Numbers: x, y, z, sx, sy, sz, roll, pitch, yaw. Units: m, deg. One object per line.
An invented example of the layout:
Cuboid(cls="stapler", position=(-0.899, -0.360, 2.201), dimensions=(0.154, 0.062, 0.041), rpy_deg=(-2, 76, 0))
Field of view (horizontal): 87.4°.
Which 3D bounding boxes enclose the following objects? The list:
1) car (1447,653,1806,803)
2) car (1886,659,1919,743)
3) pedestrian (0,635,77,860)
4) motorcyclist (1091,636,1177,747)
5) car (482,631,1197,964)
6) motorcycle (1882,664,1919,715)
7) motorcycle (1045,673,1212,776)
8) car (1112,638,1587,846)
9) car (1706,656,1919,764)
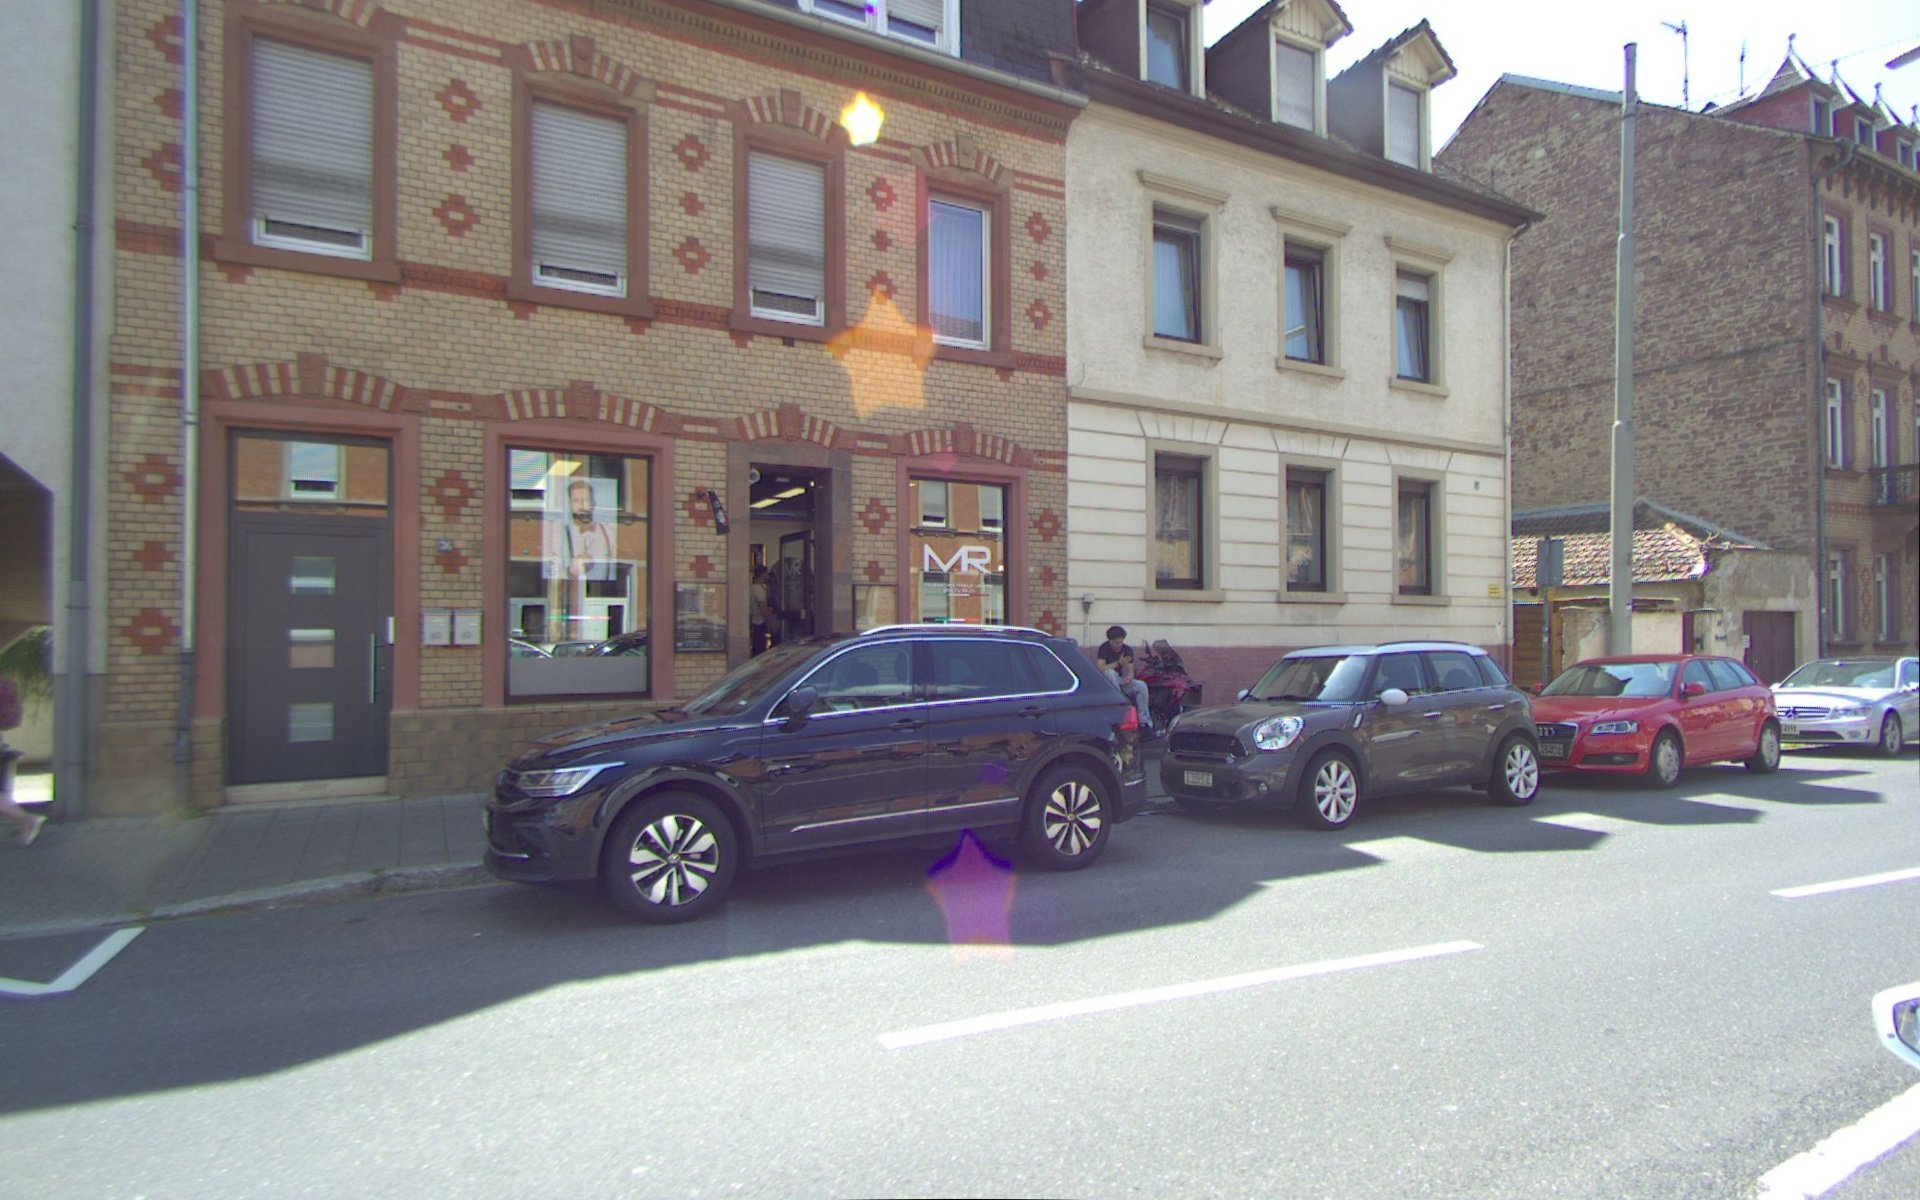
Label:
Cuboid(cls="car", position=(7.999, 1.415, 11.957), dimensions=(4.452, 1.440, 1.831), rpy_deg=(1, -6, -32))
Cuboid(cls="car", position=(18.771, 1.737, 18.037), dimensions=(4.449, 1.440, 1.833), rpy_deg=(2, -8, -30))
Cuboid(cls="pedestrian", position=(-6.873, 1.009, 6.985), dimensions=(0.959, 1.514, 0.605), rpy_deg=(1, -1, -28))
Cuboid(cls="motorcyclist", position=(2.070, 1.066, 11.981), dimensions=(0.703, 1.264, 0.715), rpy_deg=(1, -3, -29))
Cuboid(cls="car", position=(-0.721, 1.082, 6.821), dimensions=(4.448, 1.617, 1.832), rpy_deg=(1, -5, -29))
Cuboid(cls="motorcycle", position=(21.498, 1.980, 22.396), dimensions=(1.910, 1.067, 0.711), rpy_deg=(1, -2, -25))
Cuboid(cls="motorcycle", position=(2.015, 1.442, 11.988), dimensions=(1.849, 1.092, 0.842), rpy_deg=(1, -3, -29))
Cuboid(cls="car", position=(3.839, 1.248, 9.761), dimensions=(4.448, 1.617, 1.833), rpy_deg=(1, -6, -29))
Cuboid(cls="car", position=(13.622, 1.604, 15.383), dimensions=(4.448, 1.440, 1.832), rpy_deg=(1, -5, -29))
